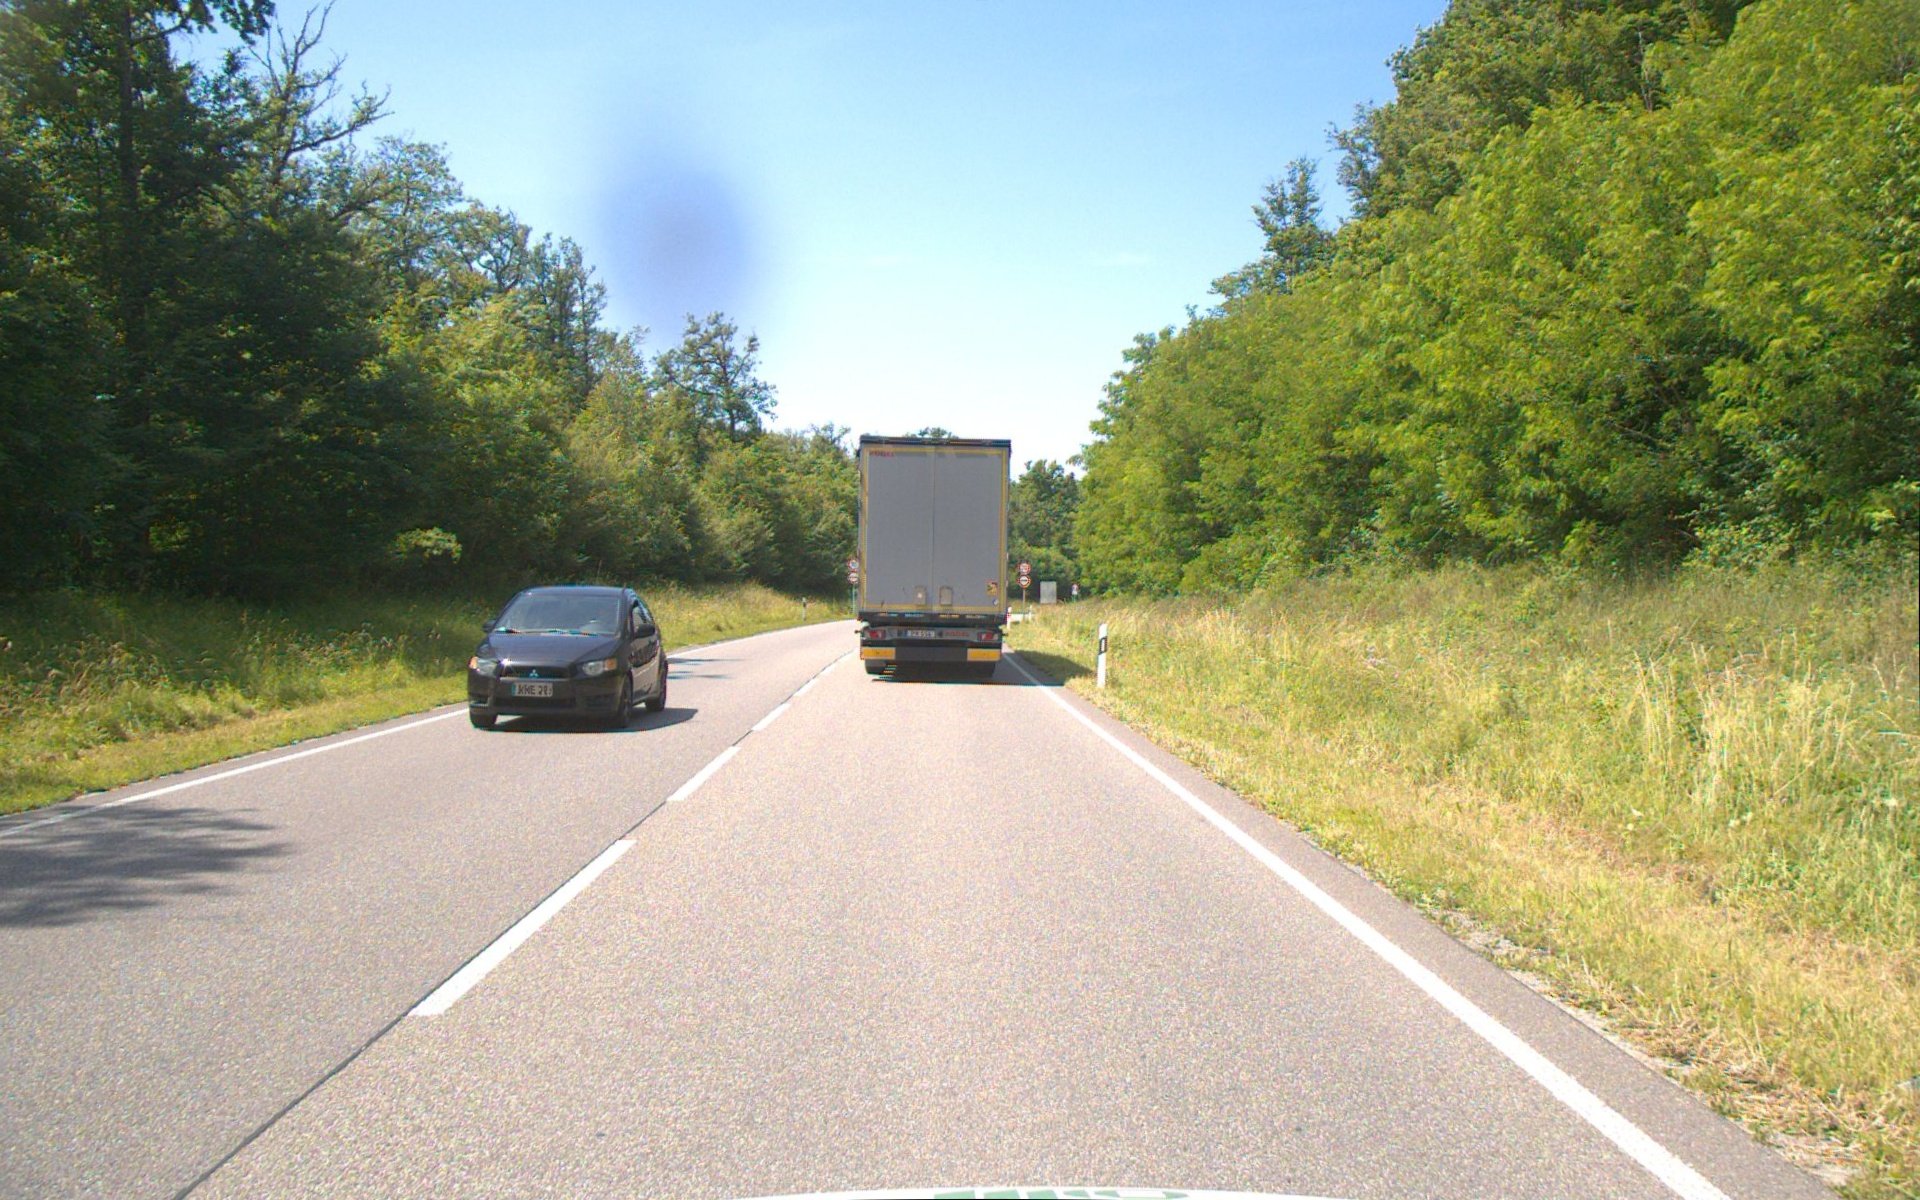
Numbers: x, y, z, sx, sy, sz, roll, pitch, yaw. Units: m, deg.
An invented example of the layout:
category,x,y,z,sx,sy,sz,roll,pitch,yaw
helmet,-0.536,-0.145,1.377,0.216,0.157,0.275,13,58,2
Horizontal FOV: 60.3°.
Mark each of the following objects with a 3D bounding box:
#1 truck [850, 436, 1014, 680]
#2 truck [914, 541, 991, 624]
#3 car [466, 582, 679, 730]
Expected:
category,x,y,z,sx,sy,sz,roll,pitch,yaw
truck,-0.600,-0.727,33.316,2.705,4.016,12.194,0,0,-1
truck,-0.268,-0.963,97.312,3.714,4.449,14.925,1,0,3
car,-4.313,0.565,18.942,1.627,1.521,3.804,1,0,-2
